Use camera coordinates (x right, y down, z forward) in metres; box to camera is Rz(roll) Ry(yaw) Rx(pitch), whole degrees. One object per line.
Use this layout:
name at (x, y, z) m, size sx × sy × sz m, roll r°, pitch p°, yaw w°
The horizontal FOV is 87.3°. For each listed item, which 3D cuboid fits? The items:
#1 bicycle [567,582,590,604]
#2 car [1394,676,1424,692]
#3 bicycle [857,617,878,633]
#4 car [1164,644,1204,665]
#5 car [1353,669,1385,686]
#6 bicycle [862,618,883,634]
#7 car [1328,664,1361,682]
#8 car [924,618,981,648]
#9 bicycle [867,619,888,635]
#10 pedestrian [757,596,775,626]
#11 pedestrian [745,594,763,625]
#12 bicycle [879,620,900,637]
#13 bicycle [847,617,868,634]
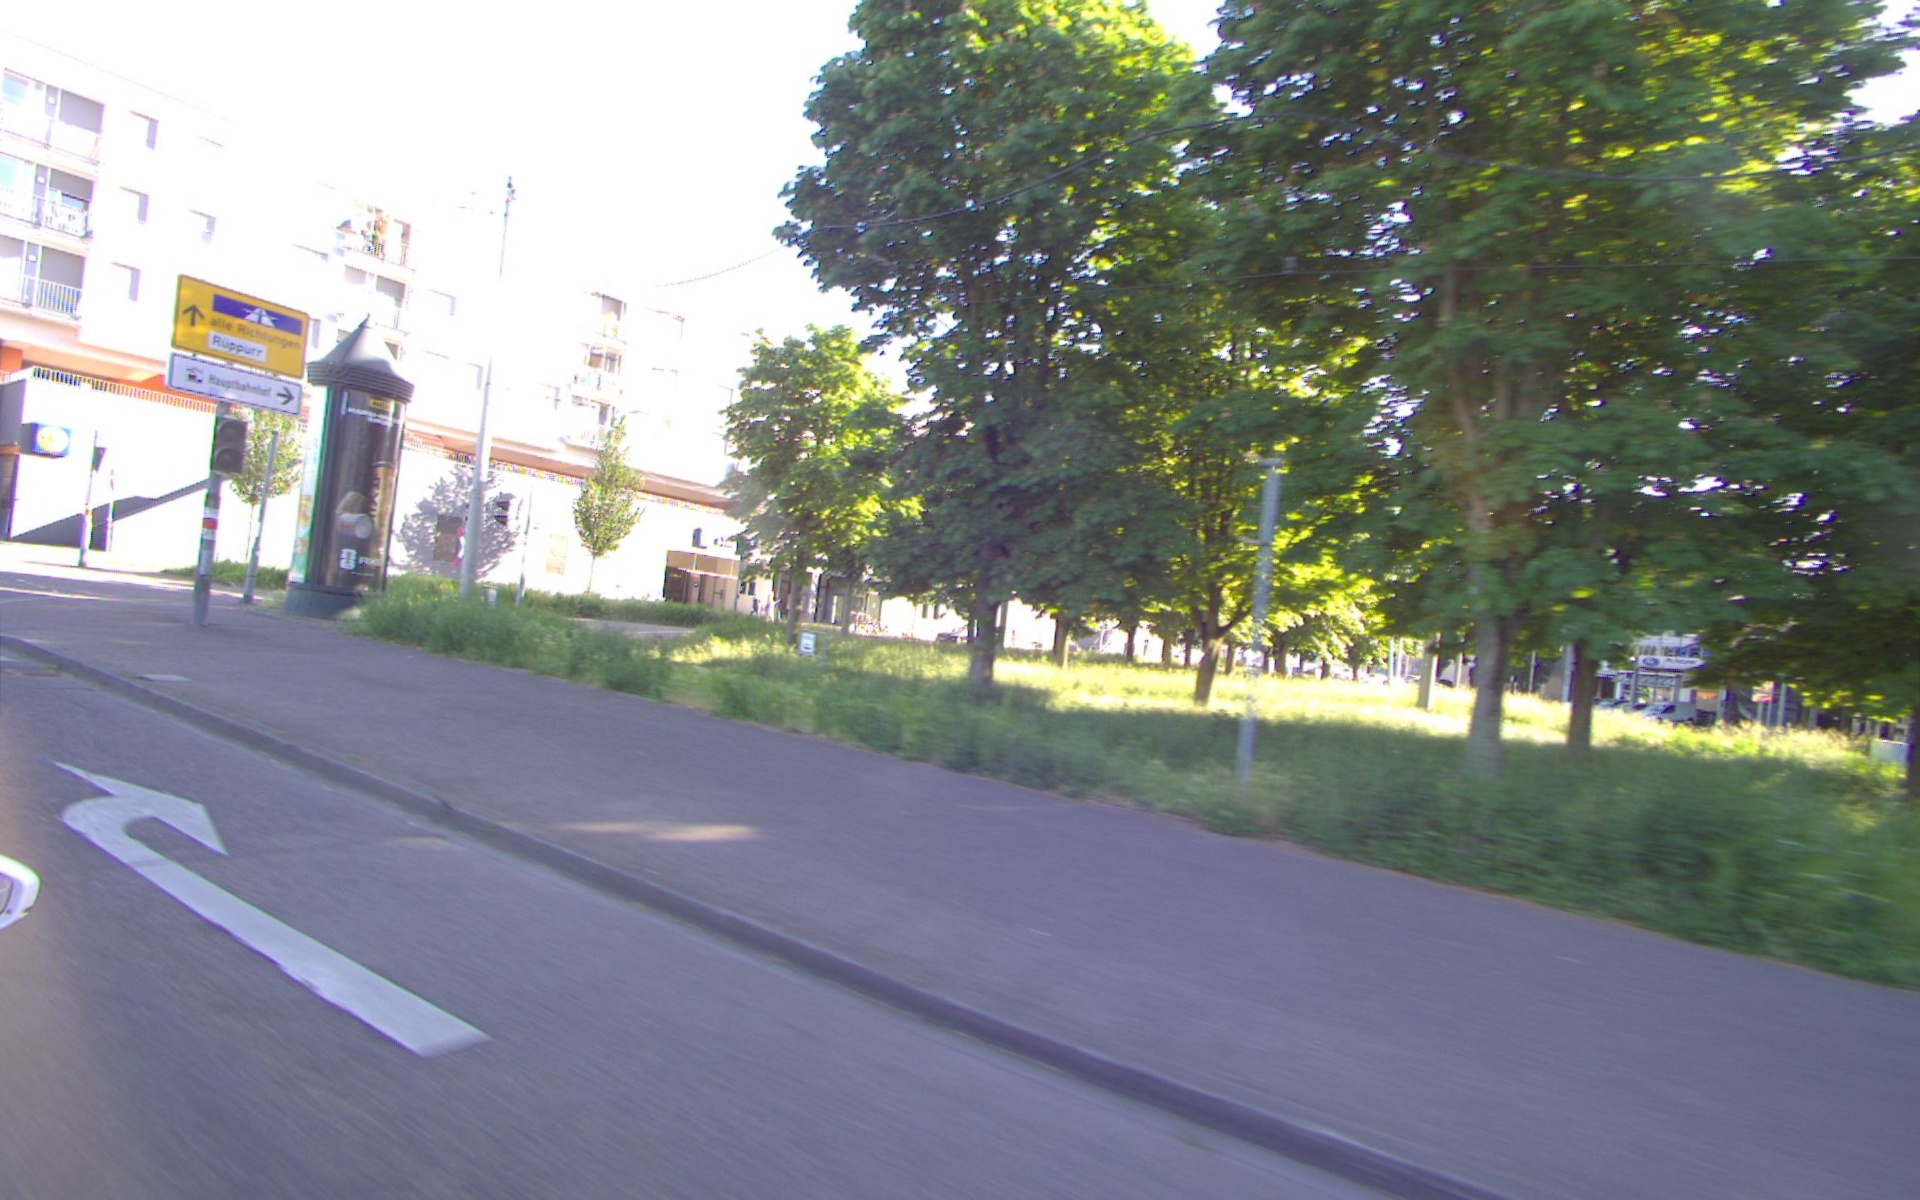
bicycle at (-18.186, -0.344, 47.906) m, size 0.479 × 0.980 × 1.438 m, roll 9°, pitch -3°, yaw -40°
car at (60.353, 11.283, 135.244) m, size 3.970 × 1.658 × 1.980 m, roll 10°, pitch -4°, yaw -38°
bicycle at (-6.204, 1.670, 67.219) m, size 1.435 × 0.980 × 0.480 m, roll 4°, pitch -3°, yaw 44°
car at (23.808, 5.824, 106.944) m, size 3.969 × 1.658 × 1.981 m, roll 10°, pitch -4°, yaw -37°
car at (52.593, 9.931, 129.300) m, size 3.970 × 1.658 × 1.980 m, roll 10°, pitch -4°, yaw -38°
bicycle at (-5.847, 1.736, 67.553) m, size 1.435 × 0.980 × 0.480 m, roll 4°, pitch -3°, yaw 44°
car at (48.134, 9.156, 125.908) m, size 3.970 × 1.658 × 1.980 m, roll 10°, pitch -4°, yaw -38°
car at (-0.512, 2.415, 72.685) m, size 1.970 × 1.658 × 3.991 m, roll 5°, pitch -4°, yaw 36°
bicycle at (-5.598, 1.822, 68.428) m, size 1.435 × 0.980 × 0.480 m, roll 4°, pitch -3°, yaw 44°
pedestrian at (-11.550, 0.656, 59.974) m, size 0.658 × 1.720 × 0.593 m, roll 9°, pitch -3°, yaw -41°
pedestrian at (-12.149, 0.543, 59.380) m, size 0.658 × 1.720 × 0.593 m, roll 9°, pitch -3°, yaw -41°
bicycle at (-4.870, 1.967, 69.297) m, size 1.435 × 0.980 × 0.480 m, roll 4°, pitch -3°, yaw 44°
bicycle at (-6.803, 1.665, 66.642) m, size 1.435 × 0.980 × 0.480 m, roll 4°, pitch -3°, yaw 44°
